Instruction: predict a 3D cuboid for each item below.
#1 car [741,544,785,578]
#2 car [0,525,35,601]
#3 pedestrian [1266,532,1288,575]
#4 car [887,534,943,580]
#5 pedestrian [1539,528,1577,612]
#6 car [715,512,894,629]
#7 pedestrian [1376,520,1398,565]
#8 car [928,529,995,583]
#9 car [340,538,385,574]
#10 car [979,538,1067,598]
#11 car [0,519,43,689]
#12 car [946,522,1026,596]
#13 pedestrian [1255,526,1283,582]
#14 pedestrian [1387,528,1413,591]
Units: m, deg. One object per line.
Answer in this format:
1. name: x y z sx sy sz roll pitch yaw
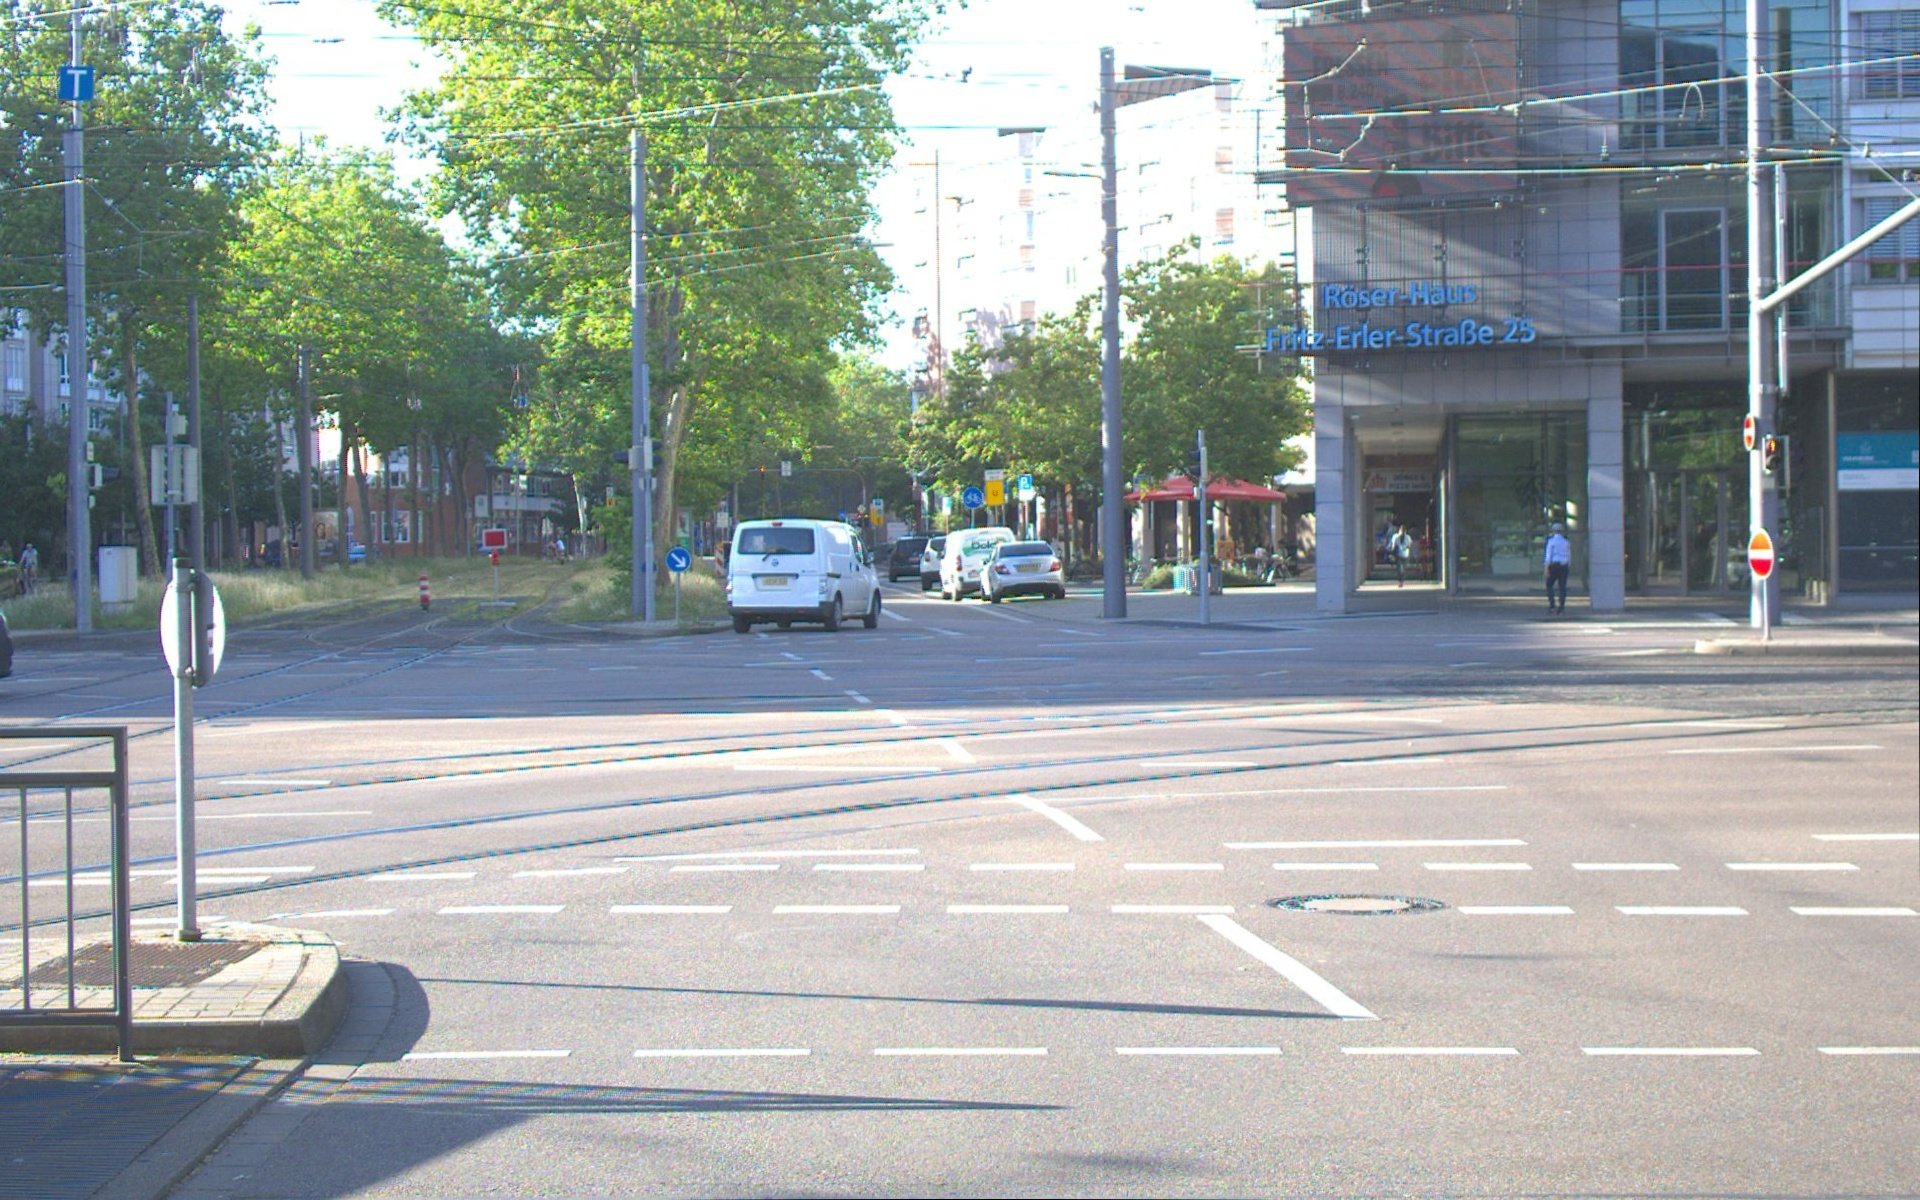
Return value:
1. car: -8.438 -1.670 147.257 1.797 1.437 4.000 1 1 -2
2. car: -21.665 -0.797 74.913 1.993 1.634 4.000 -1 1 -1
3. pedestrian: 9.647 -1.415 104.673 0.577 1.284 0.910 -1 1 -1
4. car: -1.643 -1.593 126.656 1.993 1.612 4.000 -1 1 0
5. pedestrian: 10.876 -0.547 62.553 0.612 1.502 0.579 -1 1 4
6. car: -2.535 -0.523 57.280 1.756 1.860 4.523 -1 1 14
7. pedestrian: 16.210 -2.188 130.524 0.744 1.708 0.612 -1 1 -1
8. car: 0.036 -1.355 105.206 1.993 1.612 4.000 -1 1 0
9. car: -33.696 -2.492 193.941 1.993 2.007 4.001 -1 1 -3
10. car: 1.492 -0.783 82.765 1.993 1.371 4.000 -1 1 -1
11. car: -12.503 0.093 36.236 1.965 1.842 5.318 0 1 39
12. car: 0.648 -1.092 89.560 1.993 1.853 4.000 -1 1 -1
13. pedestrian: 9.429 -1.408 104.931 0.744 1.708 0.612 -1 1 -1
14. pedestrian: 10.630 -0.983 83.048 0.612 1.502 0.579 -1 1 7
